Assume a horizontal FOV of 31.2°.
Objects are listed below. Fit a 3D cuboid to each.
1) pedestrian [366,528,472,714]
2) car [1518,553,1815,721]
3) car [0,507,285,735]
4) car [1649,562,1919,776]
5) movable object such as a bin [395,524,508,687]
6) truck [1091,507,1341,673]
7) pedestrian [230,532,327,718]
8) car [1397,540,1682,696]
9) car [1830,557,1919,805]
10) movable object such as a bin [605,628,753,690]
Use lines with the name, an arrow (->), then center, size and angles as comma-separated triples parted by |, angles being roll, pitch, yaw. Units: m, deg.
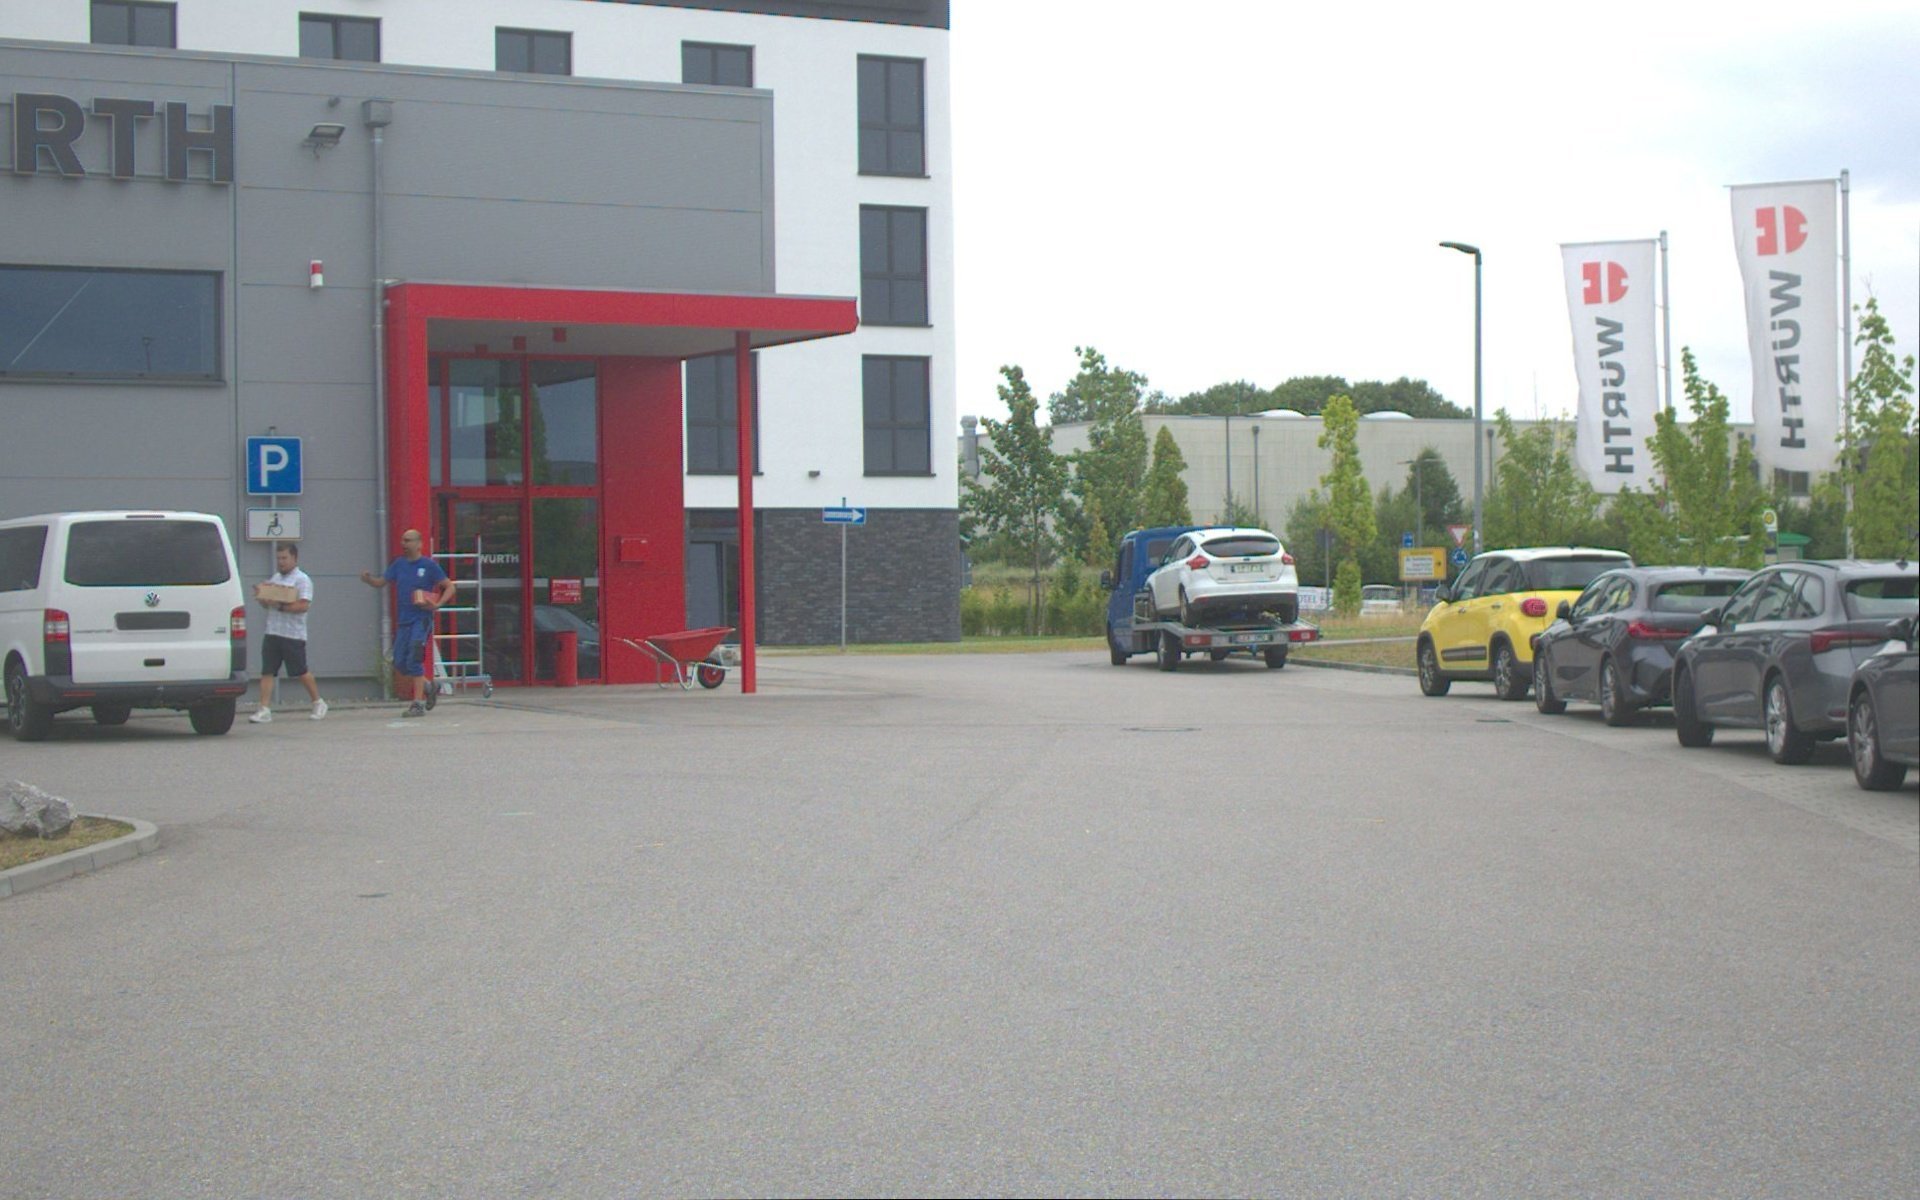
pedestrian -> -5.287, 0.201, 33.629 | 0.677, 1.796, 0.879 | -1, 0, 17
car -> 6.533, 0.304, 32.229 | 1.751, 1.464, 4.108 | 0, 0, -3
car -> -7.792, 0.183, 30.906 | 2.055, 1.849, 4.061 | -3, 1, -31
car -> 6.613, 0.454, 25.845 | 1.751, 1.464, 4.476 | 0, 0, -3
movable object such as a bin -> -5.377, 0.056, 36.329 | 0.910, 1.666, 0.743 | -3, 1, -28
truck -> 3.971, -0.188, 55.164 | 2.331, 2.398, 7.898 | -2, 1, -8
pedestrian -> -6.508, 0.229, 32.868 | 0.624, 1.745, 0.905 | -1, 0, 8
car -> 6.435, 0.197, 38.592 | 1.856, 1.644, 4.001 | 1, 0, -11
car -> 6.557, 0.477, 20.135 | 1.751, 1.464, 4.476 | 0, 0, 0
movable object such as a bin -> -3.259, 0.680, 39.881 | 1.488, 0.701, 0.965 | 0, 0, -23
